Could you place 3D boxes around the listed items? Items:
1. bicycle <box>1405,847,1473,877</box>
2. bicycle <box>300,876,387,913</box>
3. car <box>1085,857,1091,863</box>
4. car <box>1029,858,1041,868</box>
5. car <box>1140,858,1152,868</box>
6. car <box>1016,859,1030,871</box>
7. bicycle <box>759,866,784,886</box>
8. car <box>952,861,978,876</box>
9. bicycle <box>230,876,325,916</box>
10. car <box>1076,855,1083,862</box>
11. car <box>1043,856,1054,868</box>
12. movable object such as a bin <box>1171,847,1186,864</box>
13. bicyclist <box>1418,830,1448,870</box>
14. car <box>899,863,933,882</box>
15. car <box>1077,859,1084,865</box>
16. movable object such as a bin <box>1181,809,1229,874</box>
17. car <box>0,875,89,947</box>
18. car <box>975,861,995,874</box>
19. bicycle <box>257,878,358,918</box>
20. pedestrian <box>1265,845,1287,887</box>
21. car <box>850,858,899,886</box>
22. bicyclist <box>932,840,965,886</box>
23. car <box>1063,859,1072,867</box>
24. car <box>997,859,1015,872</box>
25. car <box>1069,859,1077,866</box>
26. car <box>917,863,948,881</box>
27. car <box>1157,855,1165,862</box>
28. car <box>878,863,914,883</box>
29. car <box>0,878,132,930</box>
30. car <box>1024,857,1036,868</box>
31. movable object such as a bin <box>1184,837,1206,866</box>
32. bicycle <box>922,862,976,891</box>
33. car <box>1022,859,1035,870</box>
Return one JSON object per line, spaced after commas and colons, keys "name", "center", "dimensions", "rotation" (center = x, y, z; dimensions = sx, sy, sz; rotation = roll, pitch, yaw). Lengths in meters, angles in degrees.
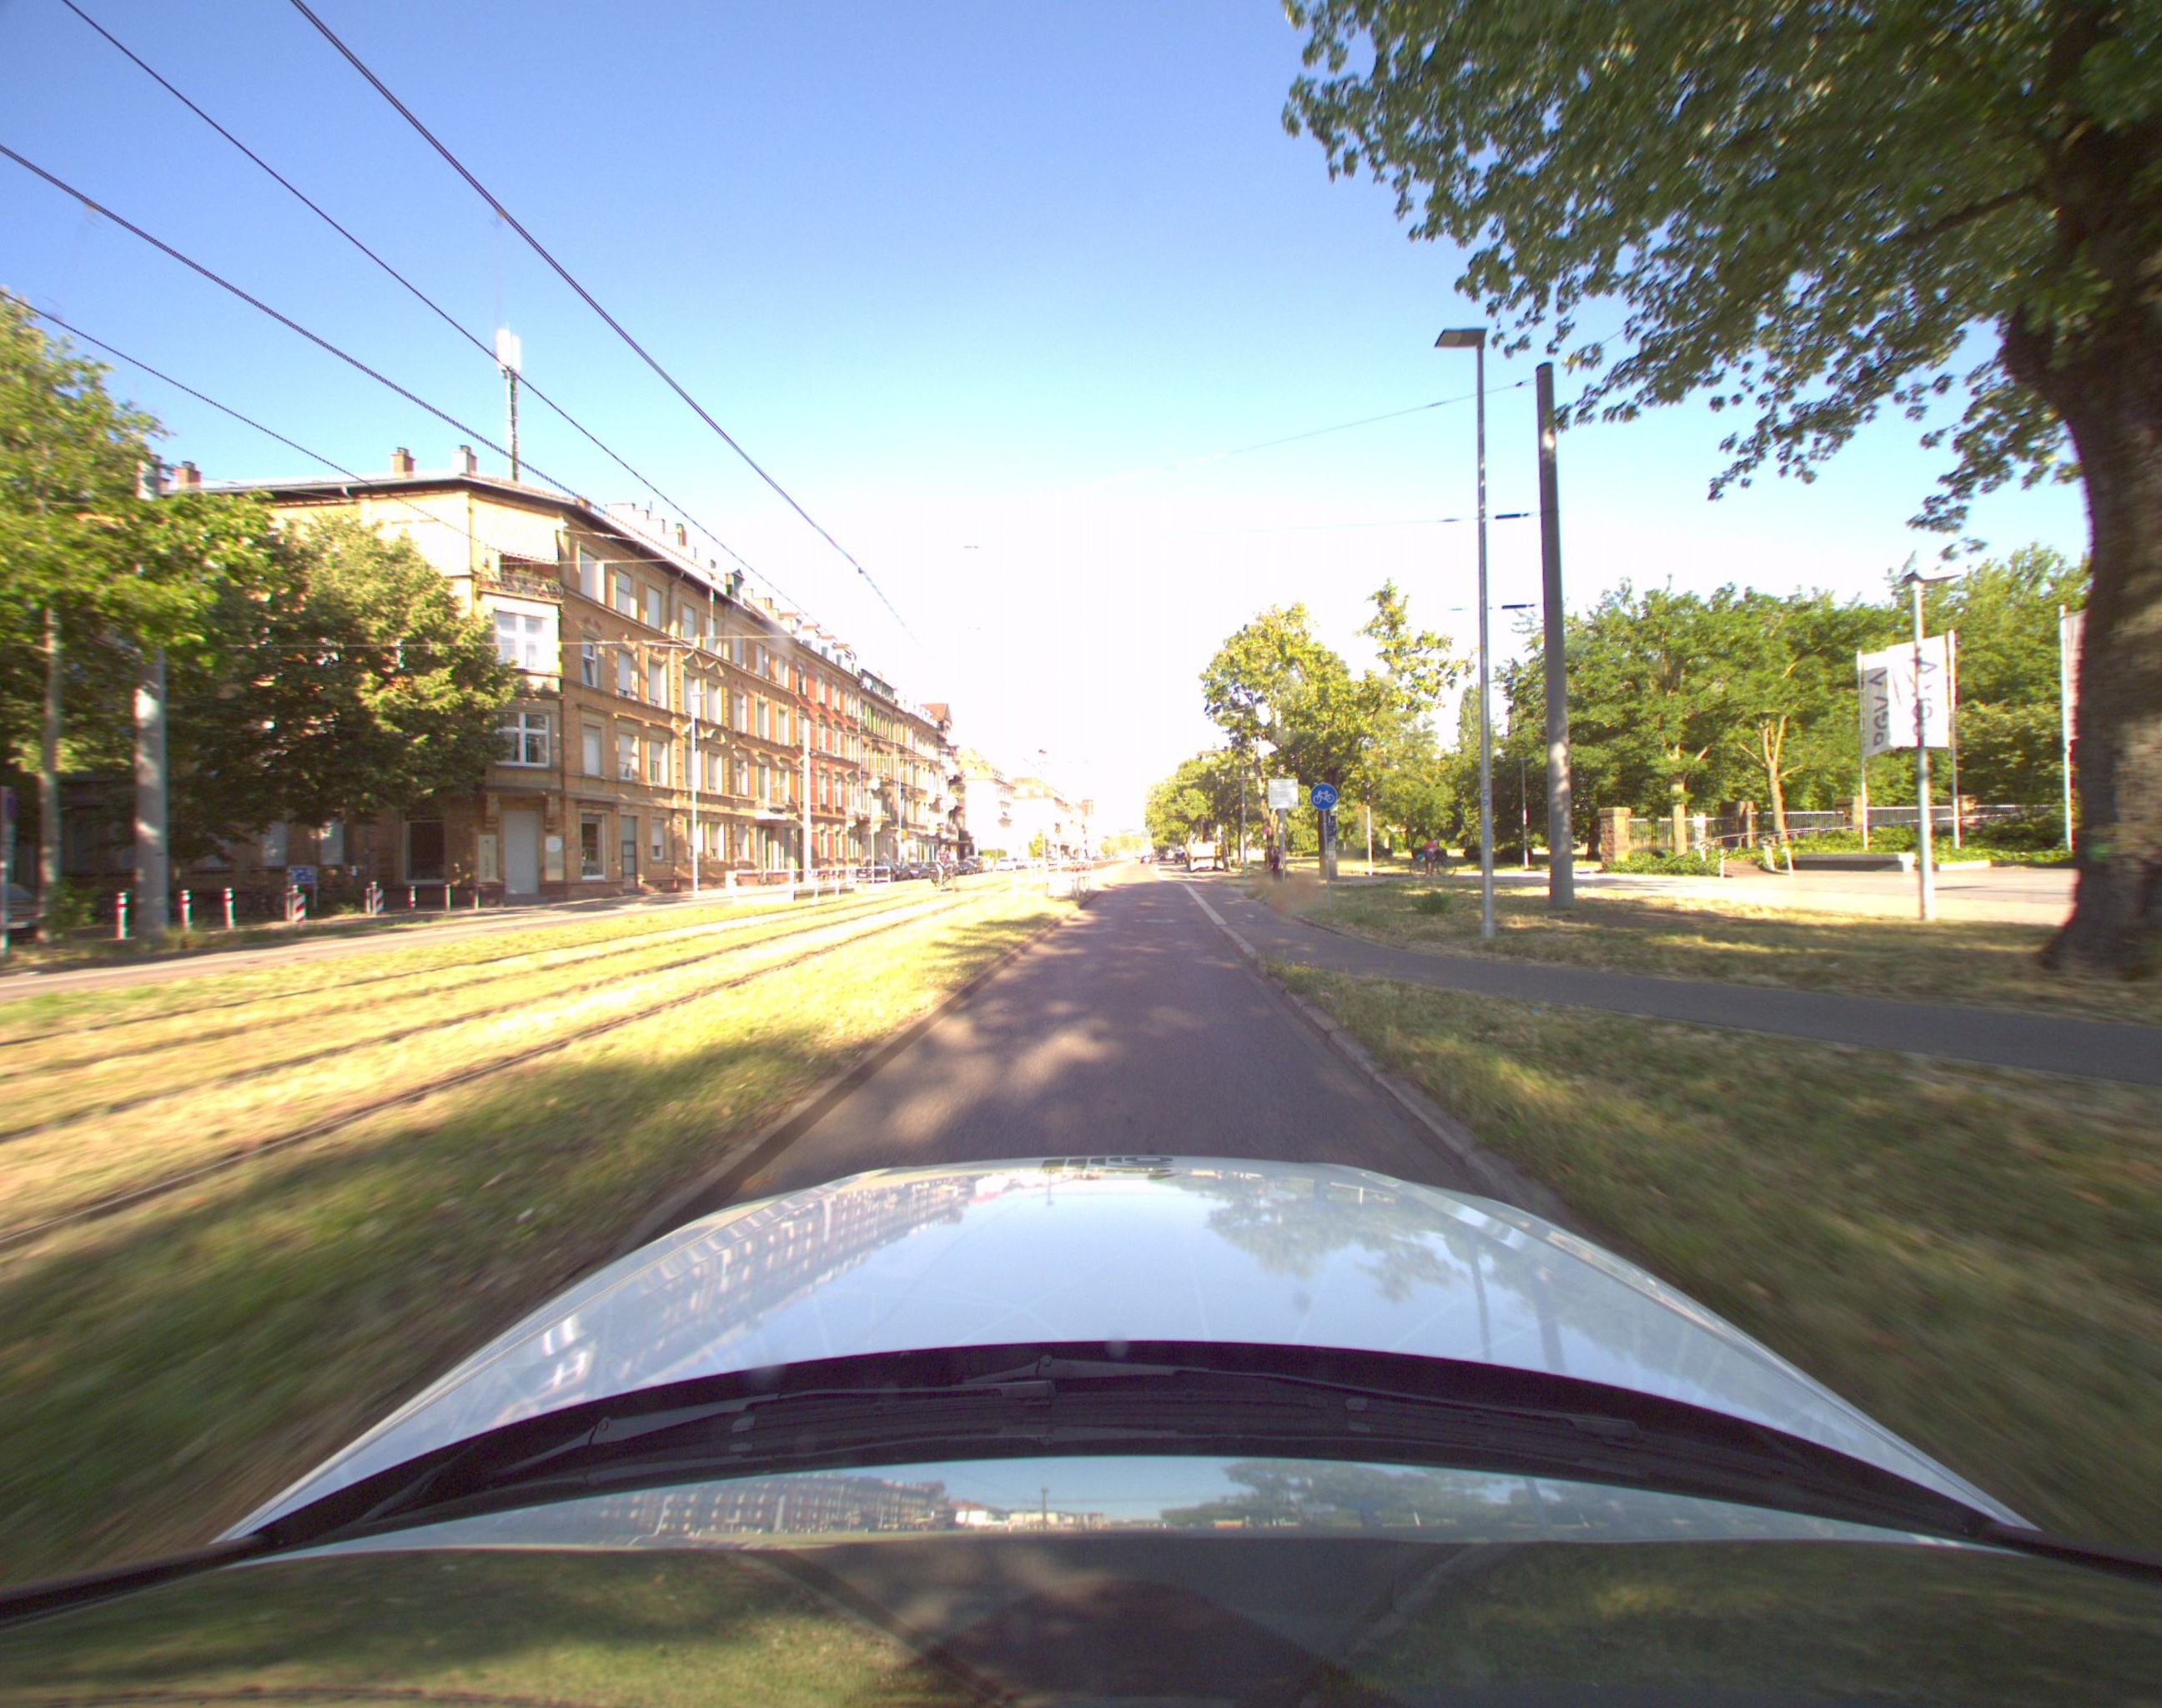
{"name": "bicycle", "center": [13.575, 0.301, 30.948], "dimensions": [2.245, 1.040, 0.769], "rotation": [-1, 0, 12]}
{"name": "bicycle", "center": [-25.356, 1.359, 28.058], "dimensions": [0.781, 1.179, 2.244], "rotation": [1, 0, 6]}
{"name": "car", "center": [2.179, 1.861, 239.365], "dimensions": [1.520, 1.610, 3.227], "rotation": [1, 1, 4]}
{"name": "car", "center": [-7.540, 1.533, 133.777], "dimensions": [1.520, 1.560, 3.227], "rotation": [1, 1, 4]}
{"name": "car", "center": [11.271, 1.482, 140.862], "dimensions": [1.984, 1.684, 4.006], "rotation": [1, 0, 5]}
{"name": "car", "center": [-8.473, 1.566, 118.350], "dimensions": [1.520, 1.560, 3.227], "rotation": [1, 1, 4]}
{"name": "bicycle", "center": [-18.897, 1.335, 49.720], "dimensions": [0.695, 1.180, 1.753], "rotation": [1, 0, 5]}
{"name": "car", "center": [-11.763, 1.490, 82.800], "dimensions": [1.768, 1.406, 3.984], "rotation": [1, 1, 4]}
{"name": "bicycle", "center": [-26.229, 1.342, 26.639], "dimensions": [0.782, 1.179, 2.242], "rotation": [1, 0, 3]}
{"name": "car", "center": [-0.401, 1.238, 222.244], "dimensions": [1.520, 1.610, 3.227], "rotation": [1, 1, 4]}
{"name": "car", "center": [-6.175, 1.454, 153.047], "dimensions": [1.650, 2.139, 3.530], "rotation": [1, 1, 4]}
{"name": "movable object such as a bin", "center": [17.678, 0.348, 147.541], "dimensions": [2.455, 2.906, 4.005], "rotation": [-4, -1, 4]}
{"name": "bicyclist", "center": [13.386, -0.146, 30.993], "dimensions": [0.897, 1.496, 0.769], "rotation": [-2, 0, 12]}
{"name": "car", "center": [-13.653, 1.488, 67.655], "dimensions": [1.768, 1.406, 3.914], "rotation": [1, 1, 4]}
{"name": "car", "center": [-0.038, 2.073, 213.318], "dimensions": [1.520, 1.560, 3.227], "rotation": [1, 1, 4]}
{"name": "movable object such as a bin", "center": [10.584, -0.982, 70.386], "dimensions": [3.073, 5.088, 8.903], "rotation": [-4, -1, 4]}
{"name": "car", "center": [-24.179, 1.231, 18.271], "dimensions": [4.138, 1.471, 2.013], "rotation": [-1, -1, 33]}
{"name": "car", "center": [-11.191, 1.551, 95.312], "dimensions": [1.555, 1.457, 3.670], "rotation": [1, 1, 4]}
{"name": "bicycle", "center": [-25.015, 1.394, 26.403], "dimensions": [0.779, 1.179, 2.250], "rotation": [1, 0, 16]}
{"name": "pedestrian", "center": [7.863, 0.486, 32.825], "dimensions": [0.657, 1.647, 0.864], "rotation": [-4, -1, 5]}
{"name": "car", "center": [-14.633, 1.239, 57.961], "dimensions": [2.006, 1.754, 4.564], "rotation": [1, 1, 4]}
{"name": "bicyclist", "center": [-5.057, 0.345, 31.117], "dimensions": [0.910, 1.715, 0.771], "rotation": [-2, 0, 28]}
{"name": "car", "center": [-2.900, 1.886, 173.647], "dimensions": [1.520, 1.560, 3.227], "rotation": [1, 1, 4]}
{"name": "car", "center": [-9.985, 1.535, 108.120], "dimensions": [1.733, 1.560, 3.772], "rotation": [1, 1, 4]}
{"name": "car", "center": [-1.908, 1.991, 196.458], "dimensions": [1.520, 1.560, 3.227], "rotation": [1, 1, 4]}
{"name": "car", "center": [-13.166, 1.573, 72.531], "dimensions": [1.768, 1.406, 3.914], "rotation": [1, 1, 4]}
{"name": "car", "center": [23.192, 1.381, 236.579], "dimensions": [1.988, 1.860, 3.998], "rotation": [1, 0, -1]}
{"name": "car", "center": [-14.206, 1.415, 62.712], "dimensions": [1.767, 1.466, 3.535], "rotation": [1, 0, 4]}
{"name": "car", "center": [-31.922, 1.478, 24.619], "dimensions": [4.162, 1.471, 2.001], "rotation": [0, -1, 2]}
{"name": "car", "center": [-8.042, 1.309, 128.848], "dimensions": [1.520, 1.560, 3.227], "rotation": [1, 1, 4]}
{"name": "movable object such as a bin", "center": [12.875, -0.244, 92.429], "dimensions": [1.959, 3.013, 4.802], "rotation": [-4, -1, 4]}
{"name": "bicycle", "center": [-5.066, 0.863, 31.136], "dimensions": [1.934, 1.040, 0.771], "rotation": [-1, 0, 28]}
{"name": "car", "center": [-8.072, 1.608, 124.883], "dimensions": [1.520, 1.560, 3.227], "rotation": [1, 1, 4]}
